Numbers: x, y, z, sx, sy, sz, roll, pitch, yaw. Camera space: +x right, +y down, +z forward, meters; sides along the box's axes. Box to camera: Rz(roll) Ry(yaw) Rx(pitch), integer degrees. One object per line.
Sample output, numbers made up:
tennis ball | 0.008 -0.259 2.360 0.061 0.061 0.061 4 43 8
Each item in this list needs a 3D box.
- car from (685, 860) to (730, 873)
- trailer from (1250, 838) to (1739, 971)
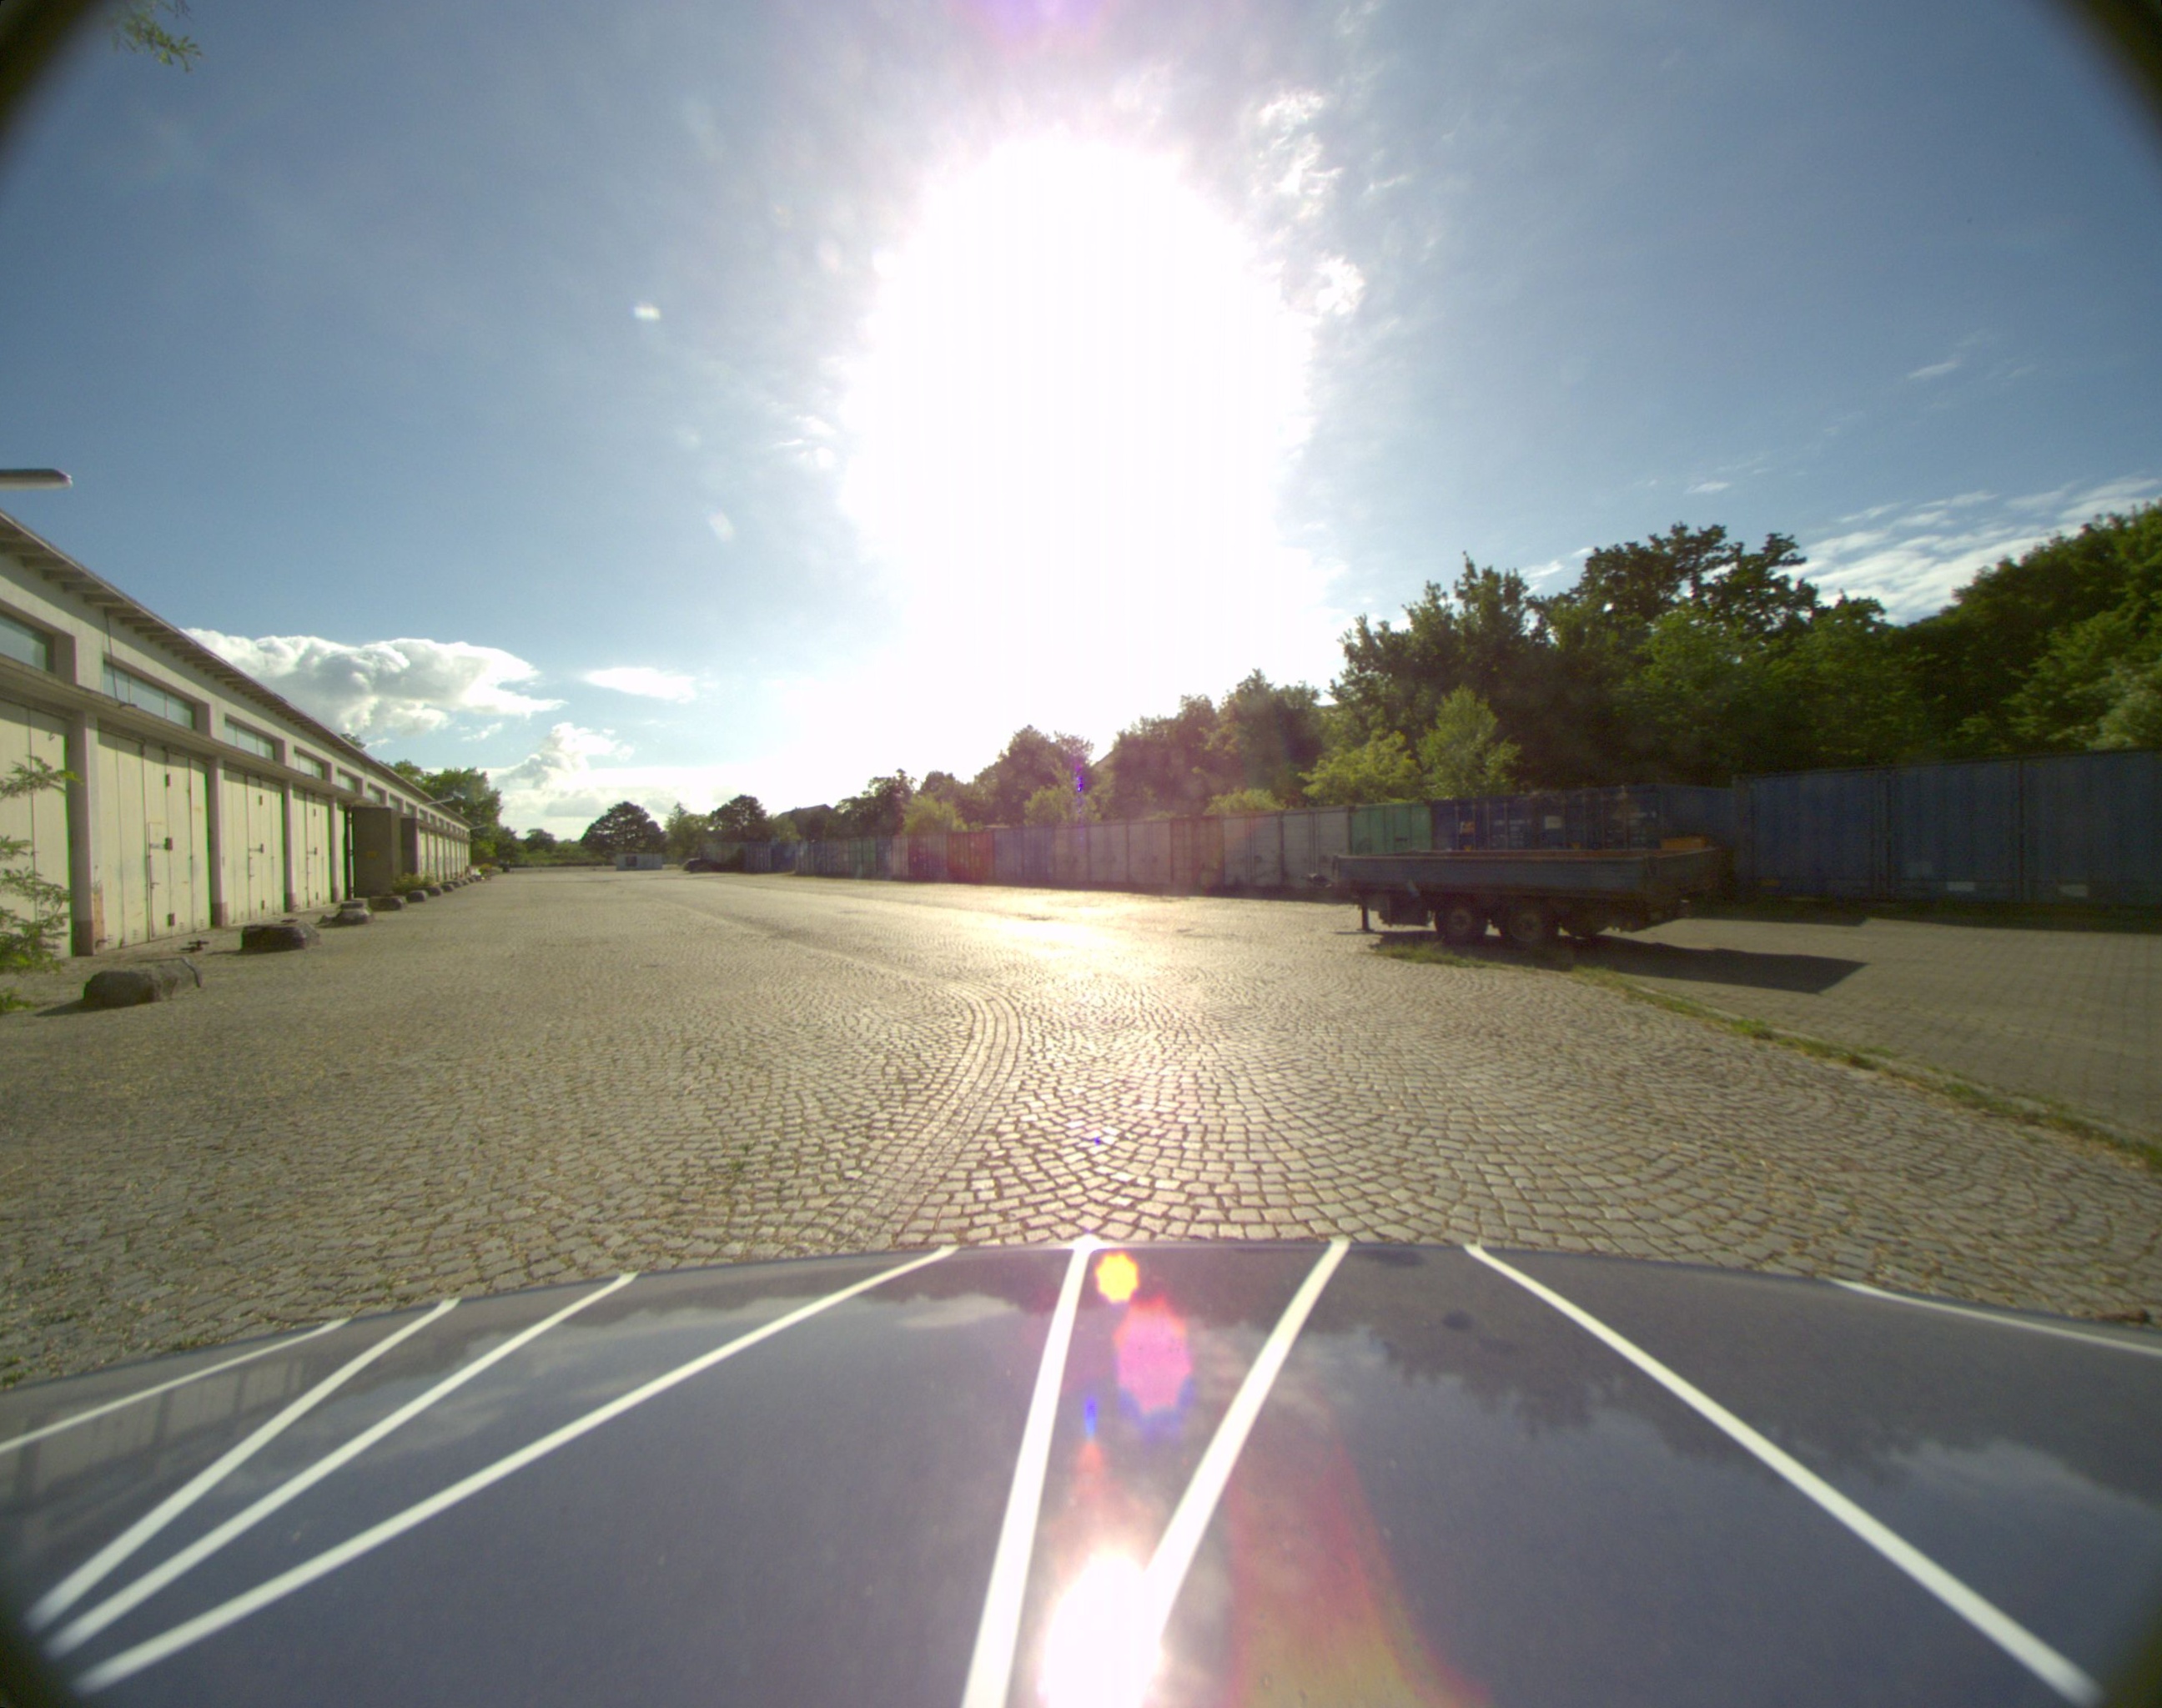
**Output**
car | -38.411 1.265 78.256 3.884 1.259 1.586 -2 1 -38
trailer | 6.287 0.642 12.594 2.860 1.509 6.476 -3 1 -36
